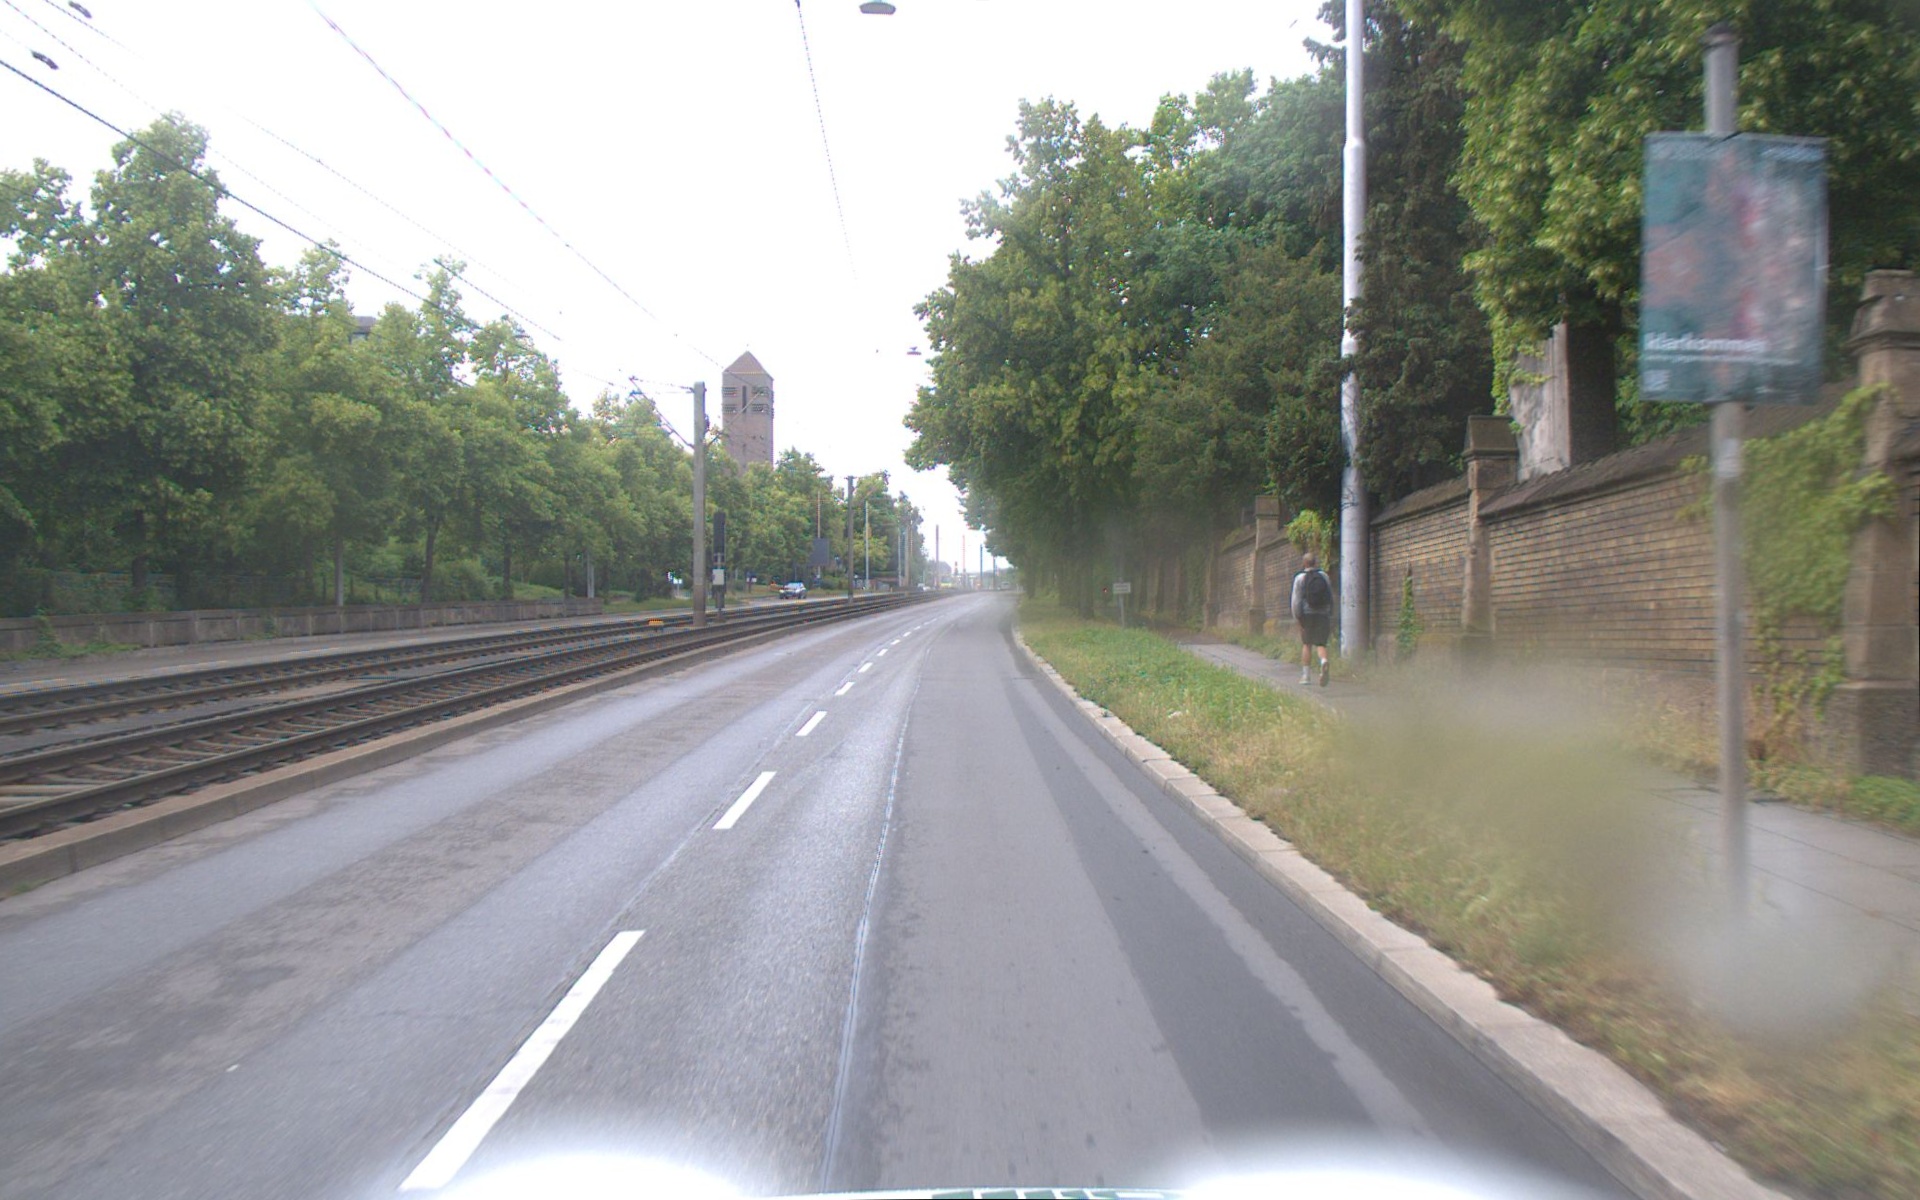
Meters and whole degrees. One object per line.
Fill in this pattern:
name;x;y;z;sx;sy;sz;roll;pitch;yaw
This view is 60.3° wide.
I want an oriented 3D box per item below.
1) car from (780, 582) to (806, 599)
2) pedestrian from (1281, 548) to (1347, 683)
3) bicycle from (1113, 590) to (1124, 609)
car;-15.162;-0.881;150.108;1.757;1.556;4.623;0;1;1
pedestrian;4.818;0.204;22.549;0.694;1.810;0.901;0;0;-1
bicycle;8.348;-0.016;87.003;0.531;0.964;2.551;-1;0;6
